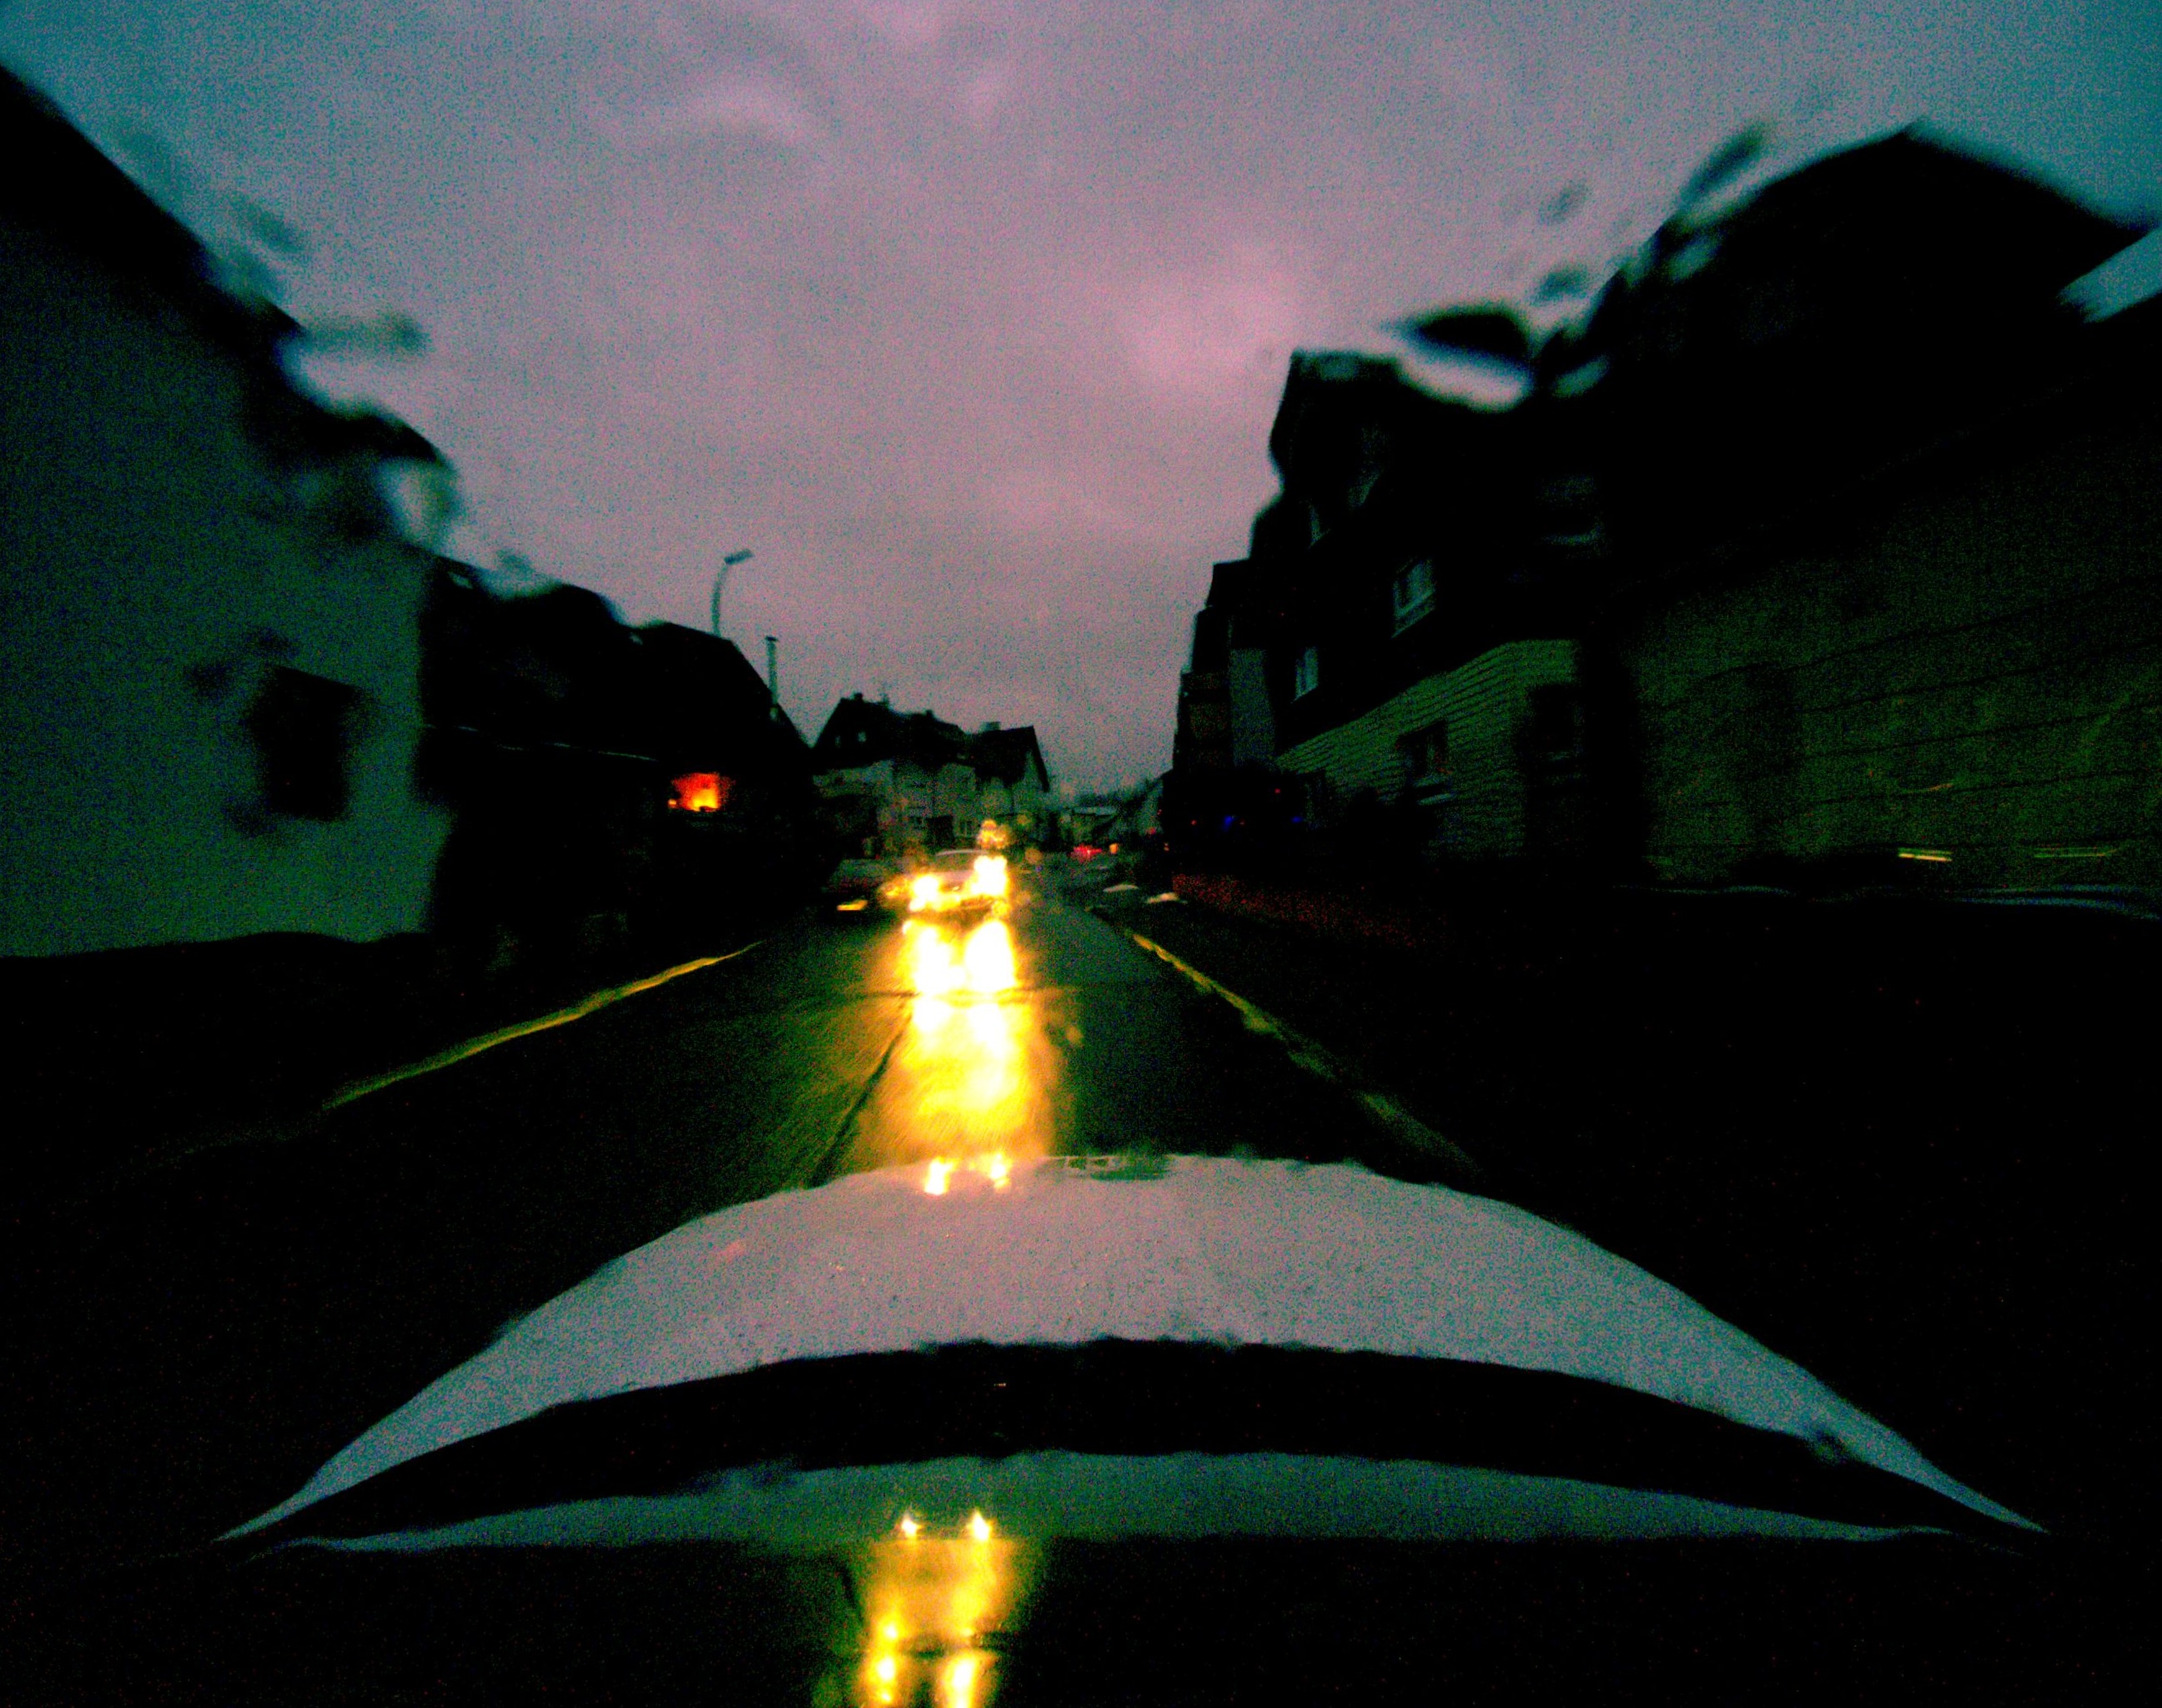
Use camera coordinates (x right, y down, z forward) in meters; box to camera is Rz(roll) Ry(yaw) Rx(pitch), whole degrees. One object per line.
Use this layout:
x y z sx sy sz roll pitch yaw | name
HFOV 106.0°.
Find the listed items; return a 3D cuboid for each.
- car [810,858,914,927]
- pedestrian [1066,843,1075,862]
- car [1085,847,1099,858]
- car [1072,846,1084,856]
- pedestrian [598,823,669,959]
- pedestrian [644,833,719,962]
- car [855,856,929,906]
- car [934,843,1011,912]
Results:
-5.297 0.868 20.173 1.821 1.440 4.059 -1 0 -6 | car
-0.994 -0.133 76.631 0.593 1.733 0.815 -2 -1 14 | pedestrian
1.639 -0.264 123.764 1.985 1.618 4.003 -1 -1 3 | car
-0.573 -0.505 139.801 1.988 1.618 3.997 -1 -1 -2 | car
-6.439 0.517 11.744 0.597 1.869 0.810 -1 -1 -7 | pedestrian
-5.767 0.609 11.789 0.705 1.779 0.810 -1 -1 -6 | pedestrian
-5.900 0.790 25.874 1.746 1.388 4.137 -1 0 -6 | car
-2.831 0.578 21.109 1.757 1.580 3.988 -1 -1 -9 | car
